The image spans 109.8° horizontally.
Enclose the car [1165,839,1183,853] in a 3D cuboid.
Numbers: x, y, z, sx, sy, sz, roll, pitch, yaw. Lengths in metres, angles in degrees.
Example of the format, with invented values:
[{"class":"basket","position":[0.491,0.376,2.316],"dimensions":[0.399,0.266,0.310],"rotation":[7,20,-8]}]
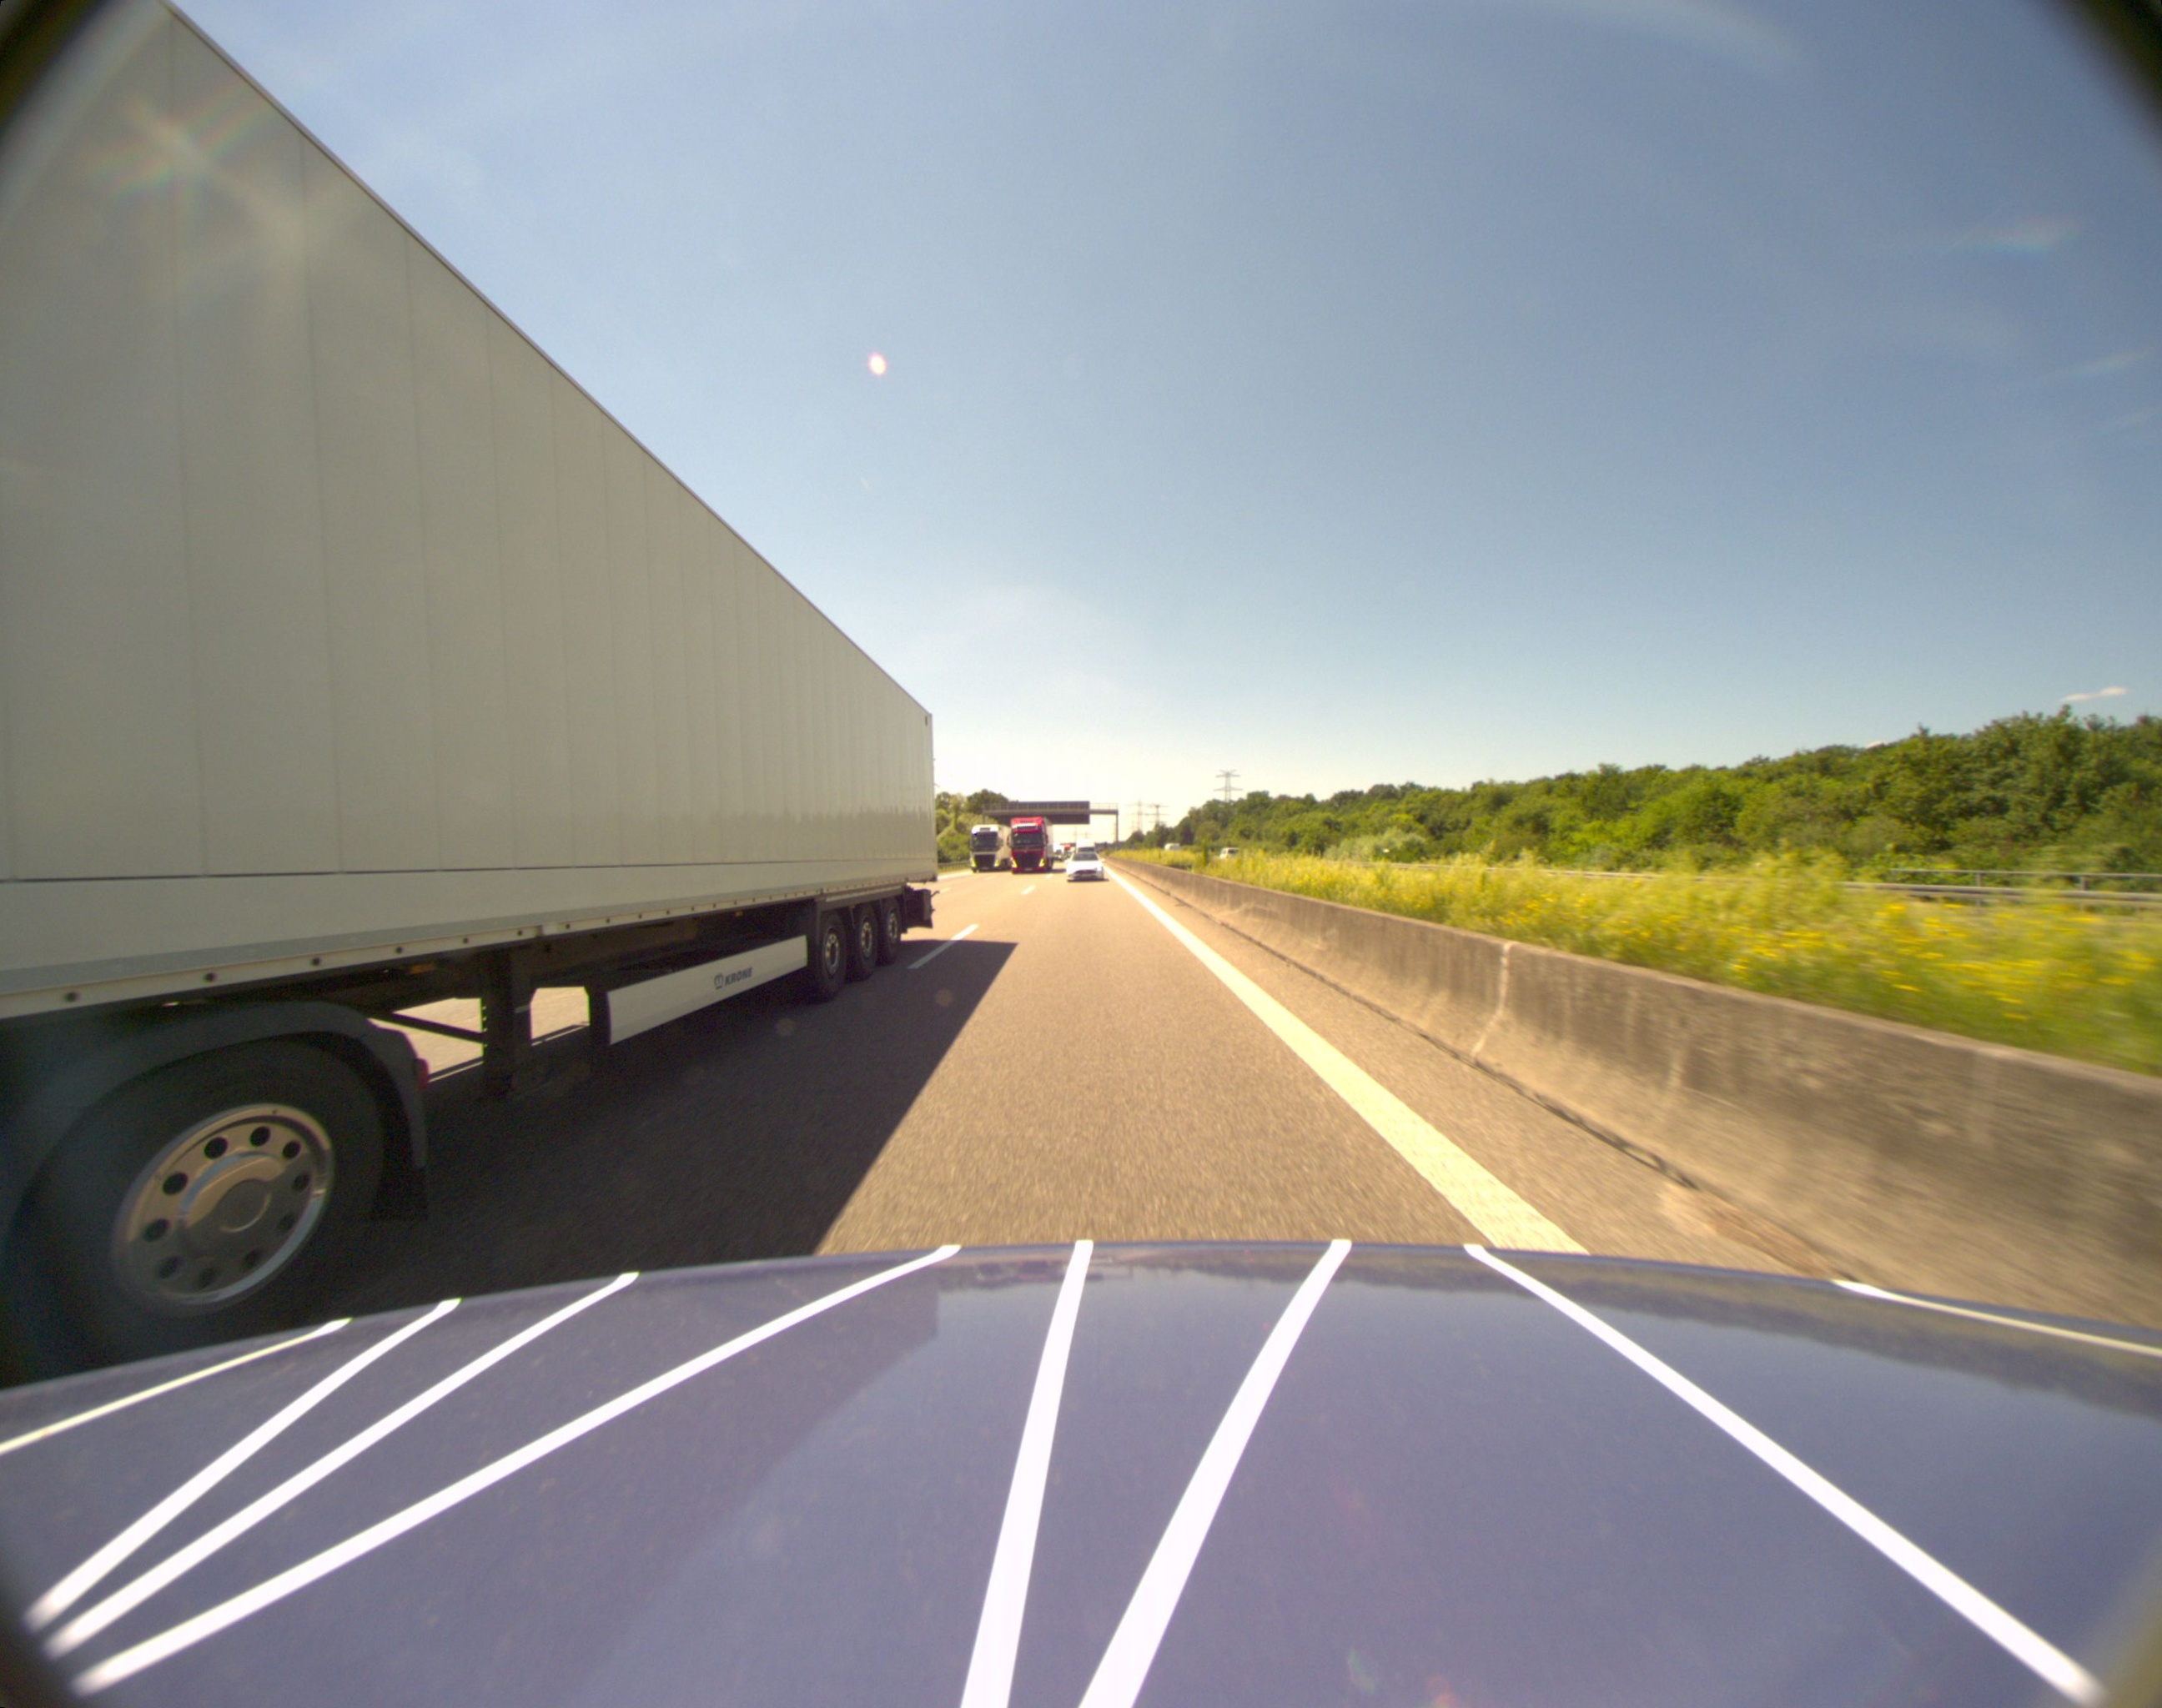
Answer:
[{"class":"car","position":[14.618,-1.291,120.142],"dimensions":[1.998,2.002,6.556],"rotation":[-3,0,0]}]

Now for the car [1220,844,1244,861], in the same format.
[{"class":"car","position":[18.224,-0.172,92.108],"dimensions":[1.886,2.002,5.075],"rotation":[-1,0,0]}]

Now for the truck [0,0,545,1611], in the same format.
[{"class":"truck","position":[-3.929,-0.216,0.454],"dimensions":[2.807,3.984,6.020],"rotation":[-1,1,0]}]

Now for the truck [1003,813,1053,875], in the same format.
[{"class":"truck","position":[-3.600,-0.657,52.955],"dimensions":[2.948,3.963,6.100],"rotation":[-2,1,-1]}]

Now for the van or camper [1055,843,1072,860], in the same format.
[{"class":"van or camper","position":[-2.630,-0.419,116.154],"dimensions":[2.411,2.483,6.431],"rotation":[-1,0,-1]}]

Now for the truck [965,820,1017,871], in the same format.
[{"class":"truck","position":[-7.851,-0.735,67.800],"dimensions":[3.033,4.069,10.976],"rotation":[-2,1,1]}]

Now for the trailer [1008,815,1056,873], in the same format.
[{"class":"trailer","position":[-3.710,-0.758,61.594],"dimensions":[2.945,3.994,16.197],"rotation":[-2,1,-1]}]

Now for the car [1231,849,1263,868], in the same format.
[{"class":"car","position":[13.787,0.376,63.328],"dimensions":[1.673,1.455,4.259],"rotation":[2,0,1]}]

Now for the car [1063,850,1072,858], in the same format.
[{"class":"car","position":[-2.885,0.026,168.131],"dimensions":[1.904,1.662,3.999],"rotation":[-2,0,-1]}]

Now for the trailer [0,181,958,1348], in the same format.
[{"class":"trailer","position":[-3.919,-0.304,8.918],"dimensions":[2.802,4.012,12.566],"rotation":[-1,0,0]}]

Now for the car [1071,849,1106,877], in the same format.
[{"class":"car","position":[0.383,0.463,42.145],"dimensions":[1.788,1.462,3.999],"rotation":[-1,1,-1]}]

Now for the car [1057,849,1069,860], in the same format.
[{"class":"car","position":[-2.604,0.057,110.884],"dimensions":[1.788,1.520,4.104],"rotation":[-1,0,-1]}]

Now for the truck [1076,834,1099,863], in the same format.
[{"class":"truck","position":[0.618,-0.535,77.844],"dimensions":[2.192,2.841,5.503],"rotation":[-2,0,0]}]
